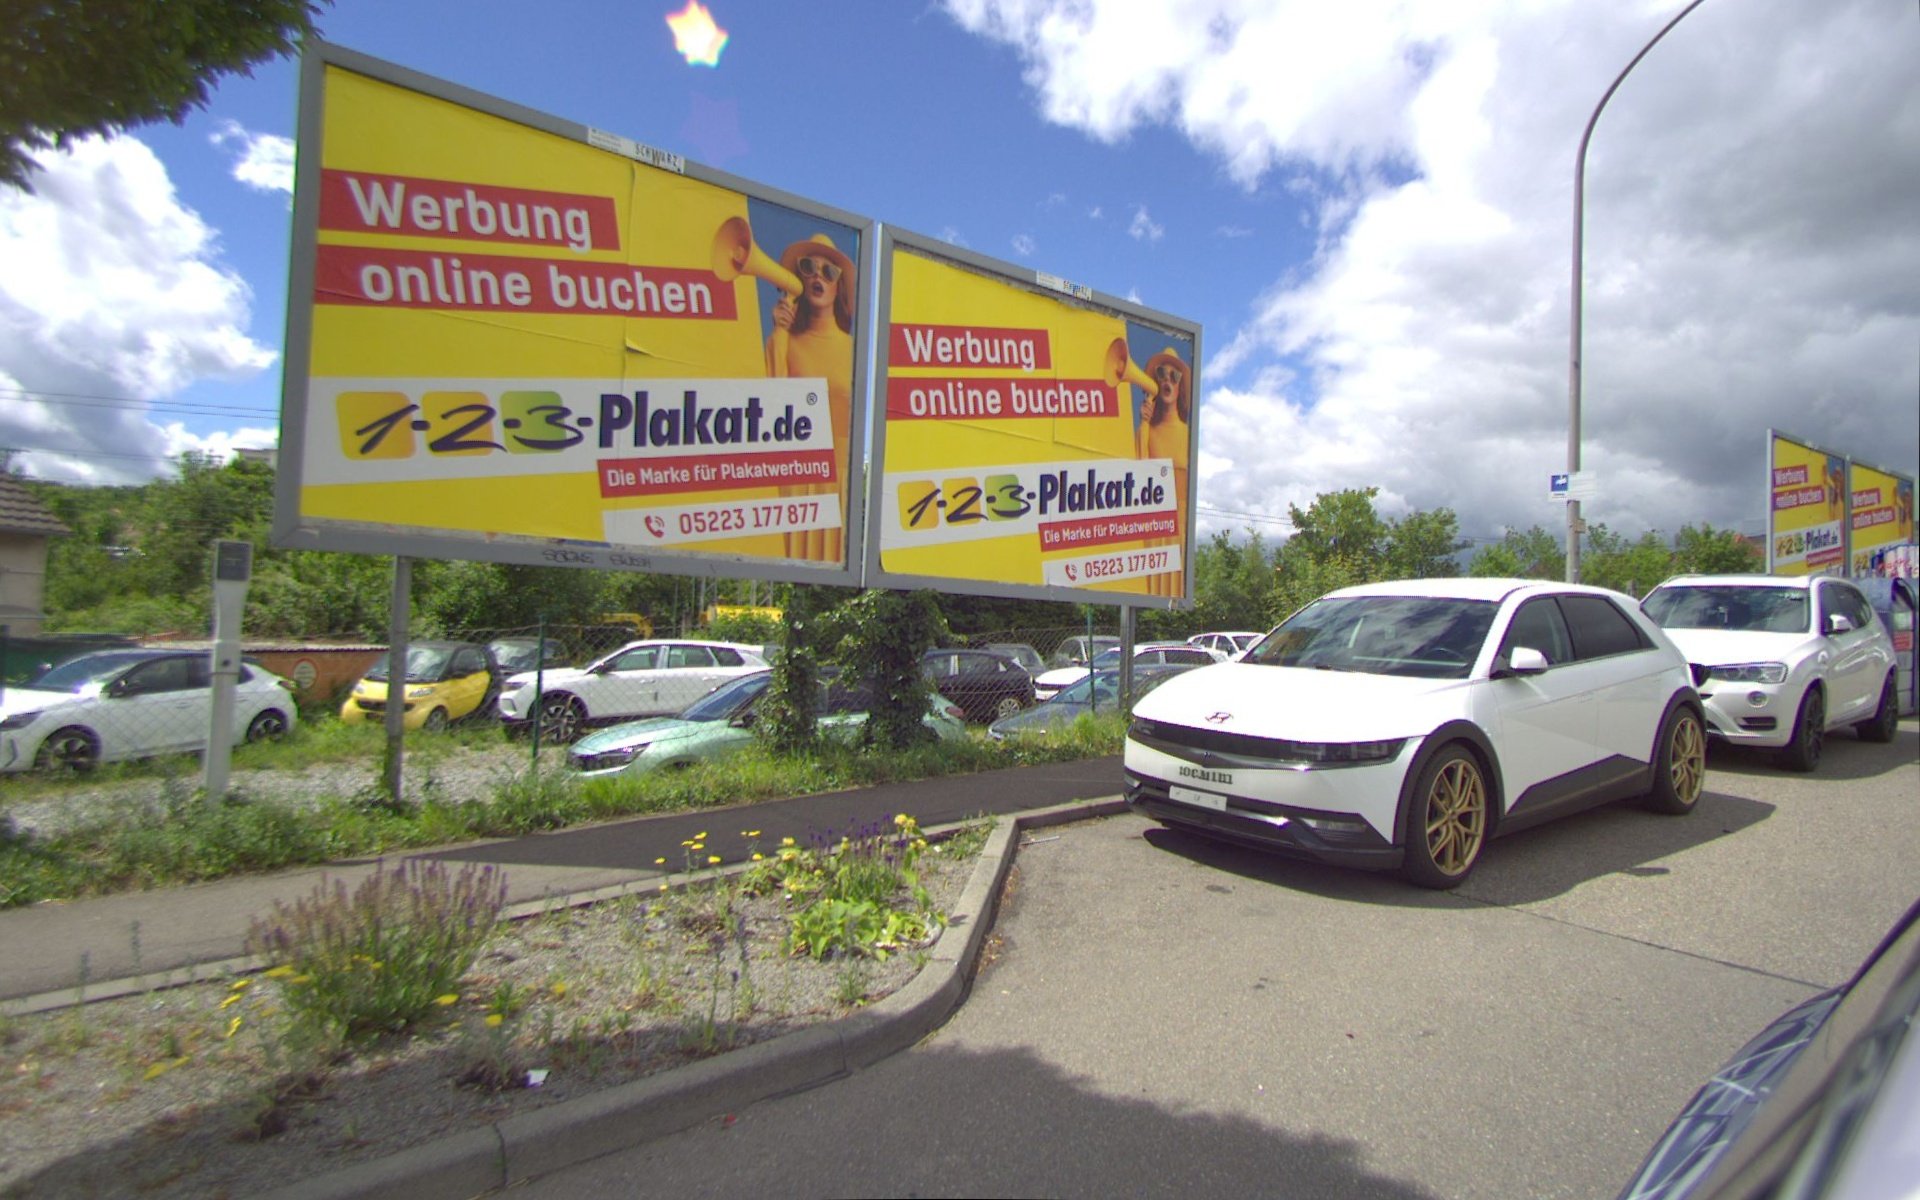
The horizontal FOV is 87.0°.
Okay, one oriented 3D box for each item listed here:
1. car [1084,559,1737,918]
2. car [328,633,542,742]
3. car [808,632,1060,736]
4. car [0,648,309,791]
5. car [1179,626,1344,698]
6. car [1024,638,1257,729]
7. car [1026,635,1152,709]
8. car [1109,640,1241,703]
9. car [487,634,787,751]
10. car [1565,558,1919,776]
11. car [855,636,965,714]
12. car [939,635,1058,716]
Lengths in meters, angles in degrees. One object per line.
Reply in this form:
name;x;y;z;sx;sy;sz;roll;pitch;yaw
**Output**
car;3.048;0.571;6.484;4.381;1.585;1.848;0;1;-35
car;-8.855;1.402;17.469;1.496;1.407;4.042;1;1;2
car;-0.495;1.498;19.057;4.369;1.642;1.822;0;1;-21
car;-10.571;1.356;12.653;1.717;1.408;4.026;1;-2;12
car;7.805;1.538;26.667;1.958;1.574;4.470;0;0;-18
car;3.737;1.647;20.893;4.486;1.536;1.761;0;1;-23
car;3.192;1.758;25.948;1.784;1.578;4.008;0;0;-16
car;5.525;1.810;26.564;1.719;1.347;4.008;0;0;-16
car;-5.370;1.477;17.125;4.580;1.706;1.759;1;1;-18
car;7.755;0.499;9.829;4.396;1.680;1.690;0;0;-37
car;-1.270;1.676;23.712;1.707;1.407;4.052;0;1;-15
car;0.839;1.748;24.664;1.758;1.632;4.008;0;0;-16
